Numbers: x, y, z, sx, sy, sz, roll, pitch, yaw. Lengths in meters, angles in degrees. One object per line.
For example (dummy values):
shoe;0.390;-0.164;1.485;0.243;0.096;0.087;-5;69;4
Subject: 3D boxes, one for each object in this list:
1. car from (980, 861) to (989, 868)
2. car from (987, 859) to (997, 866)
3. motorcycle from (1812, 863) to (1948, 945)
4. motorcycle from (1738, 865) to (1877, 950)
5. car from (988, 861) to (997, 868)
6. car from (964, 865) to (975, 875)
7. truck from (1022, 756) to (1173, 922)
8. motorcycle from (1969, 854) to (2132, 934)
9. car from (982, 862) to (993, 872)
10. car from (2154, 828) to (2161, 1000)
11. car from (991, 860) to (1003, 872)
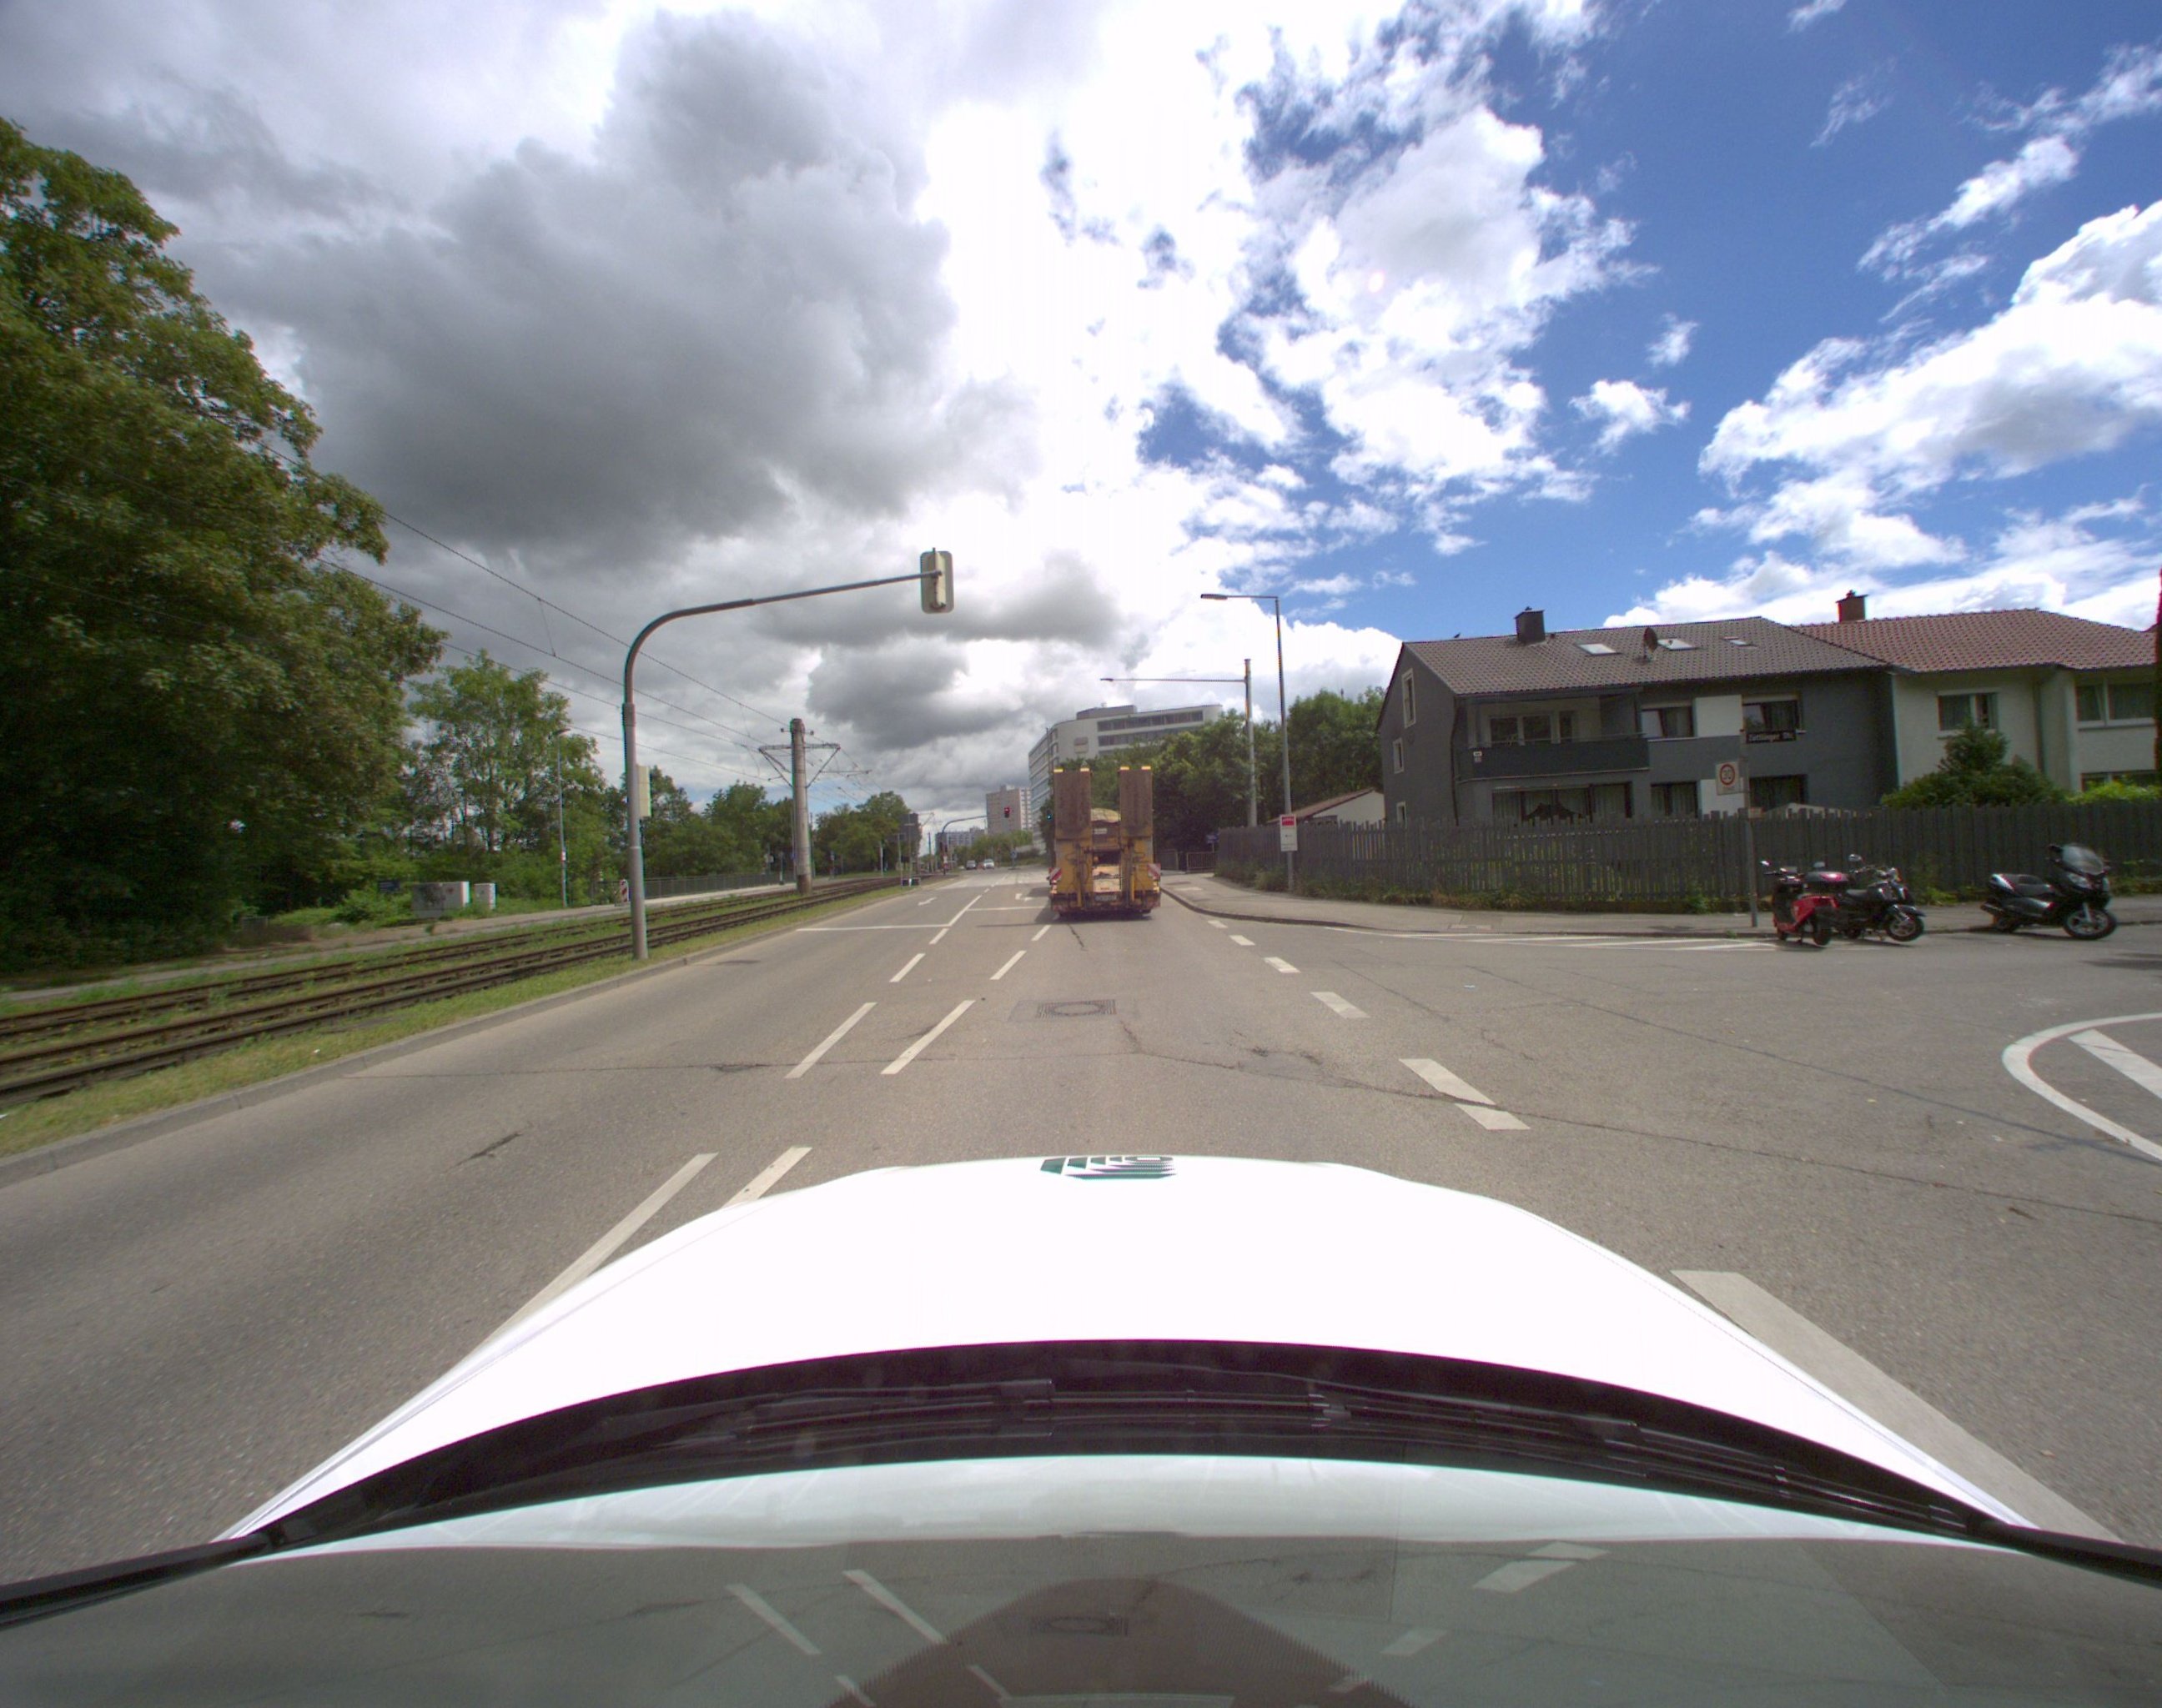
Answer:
car;-23.973;2.580;202.633;1.991;1.618;3.991;-1;-1;-7
car;-18.464;1.778;168.502;1.991;1.420;3.990;-1;-1;-7
motorcycle;12.232;0.723;12.556;0.653;1.149;2.002;-2;-1;18
motorcycle;11.006;0.759;12.465;0.653;1.149;2.436;-2;-1;18
car;-19.346;2.332;178.433;1.991;1.420;3.990;-1;-1;-7
car;-19.552;2.785;142.819;1.782;1.570;4.333;-3;-1;-8
truck;0.236;-0.273;24.687;3.307;3.651;12.553;-2;-1;-1
motorcycle;15.030;0.581;12.715;0.653;1.149;2.002;-2;-1;18
car;-14.644;2.068;128.044;1.590;1.527;3.648;-3;-1;-5
car;11.889;0.477;6.749;3.985;1.554;1.934;-2;0;-8
car;-14.991;2.153;145.695;1.991;1.926;3.990;-1;-1;-7
